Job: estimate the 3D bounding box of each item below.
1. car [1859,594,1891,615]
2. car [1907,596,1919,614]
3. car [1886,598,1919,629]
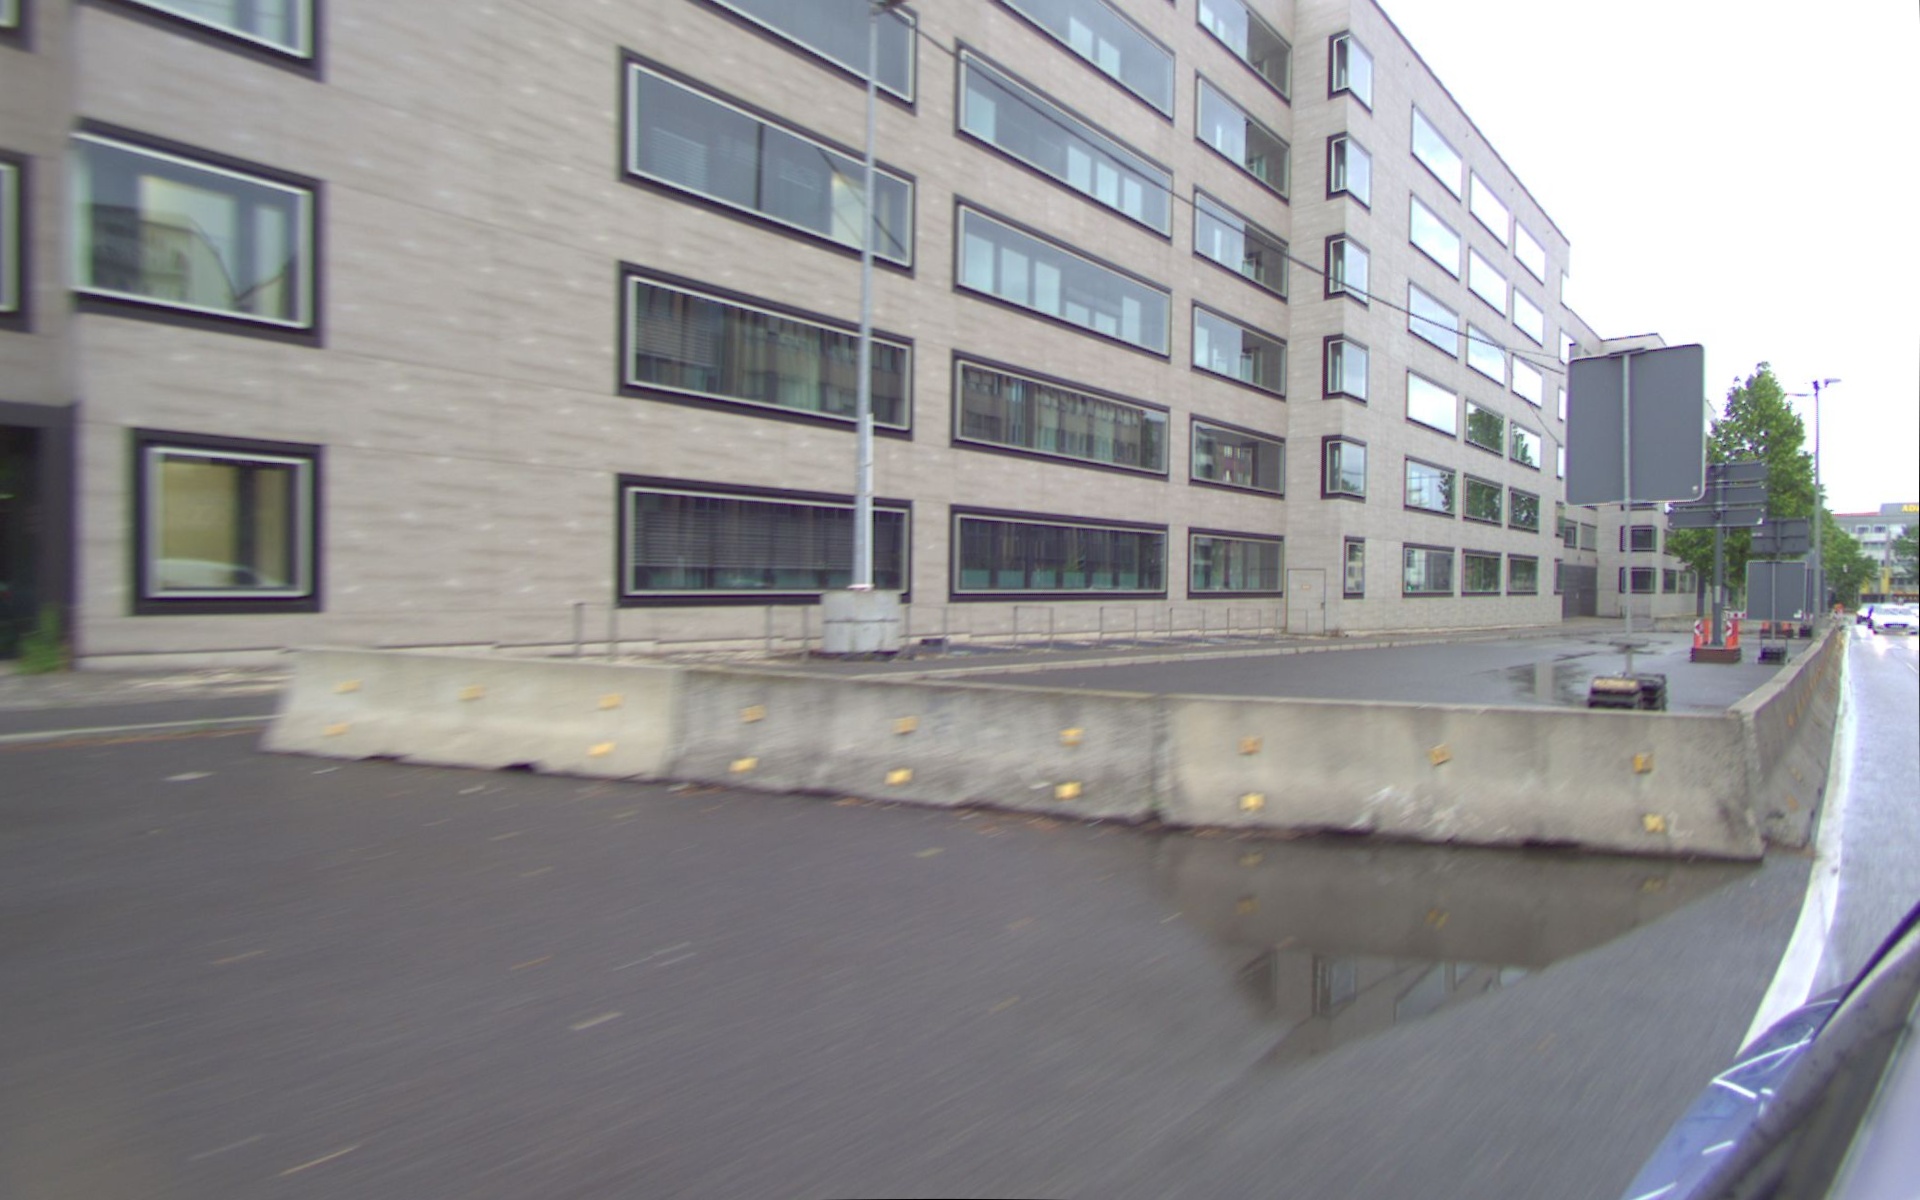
[{"bbox_3d":[69.882,0.338,77.317,1.767,1.553,4.585,1,1,42],"label":"car"},{"bbox_3d":[82.413,0.440,86.645,1.767,1.553,4.585,1,1,42],"label":"car"},{"bbox_3d":[49.626,0.677,52.848,1.767,1.553,4.585,1,1,42],"label":"car"}]
